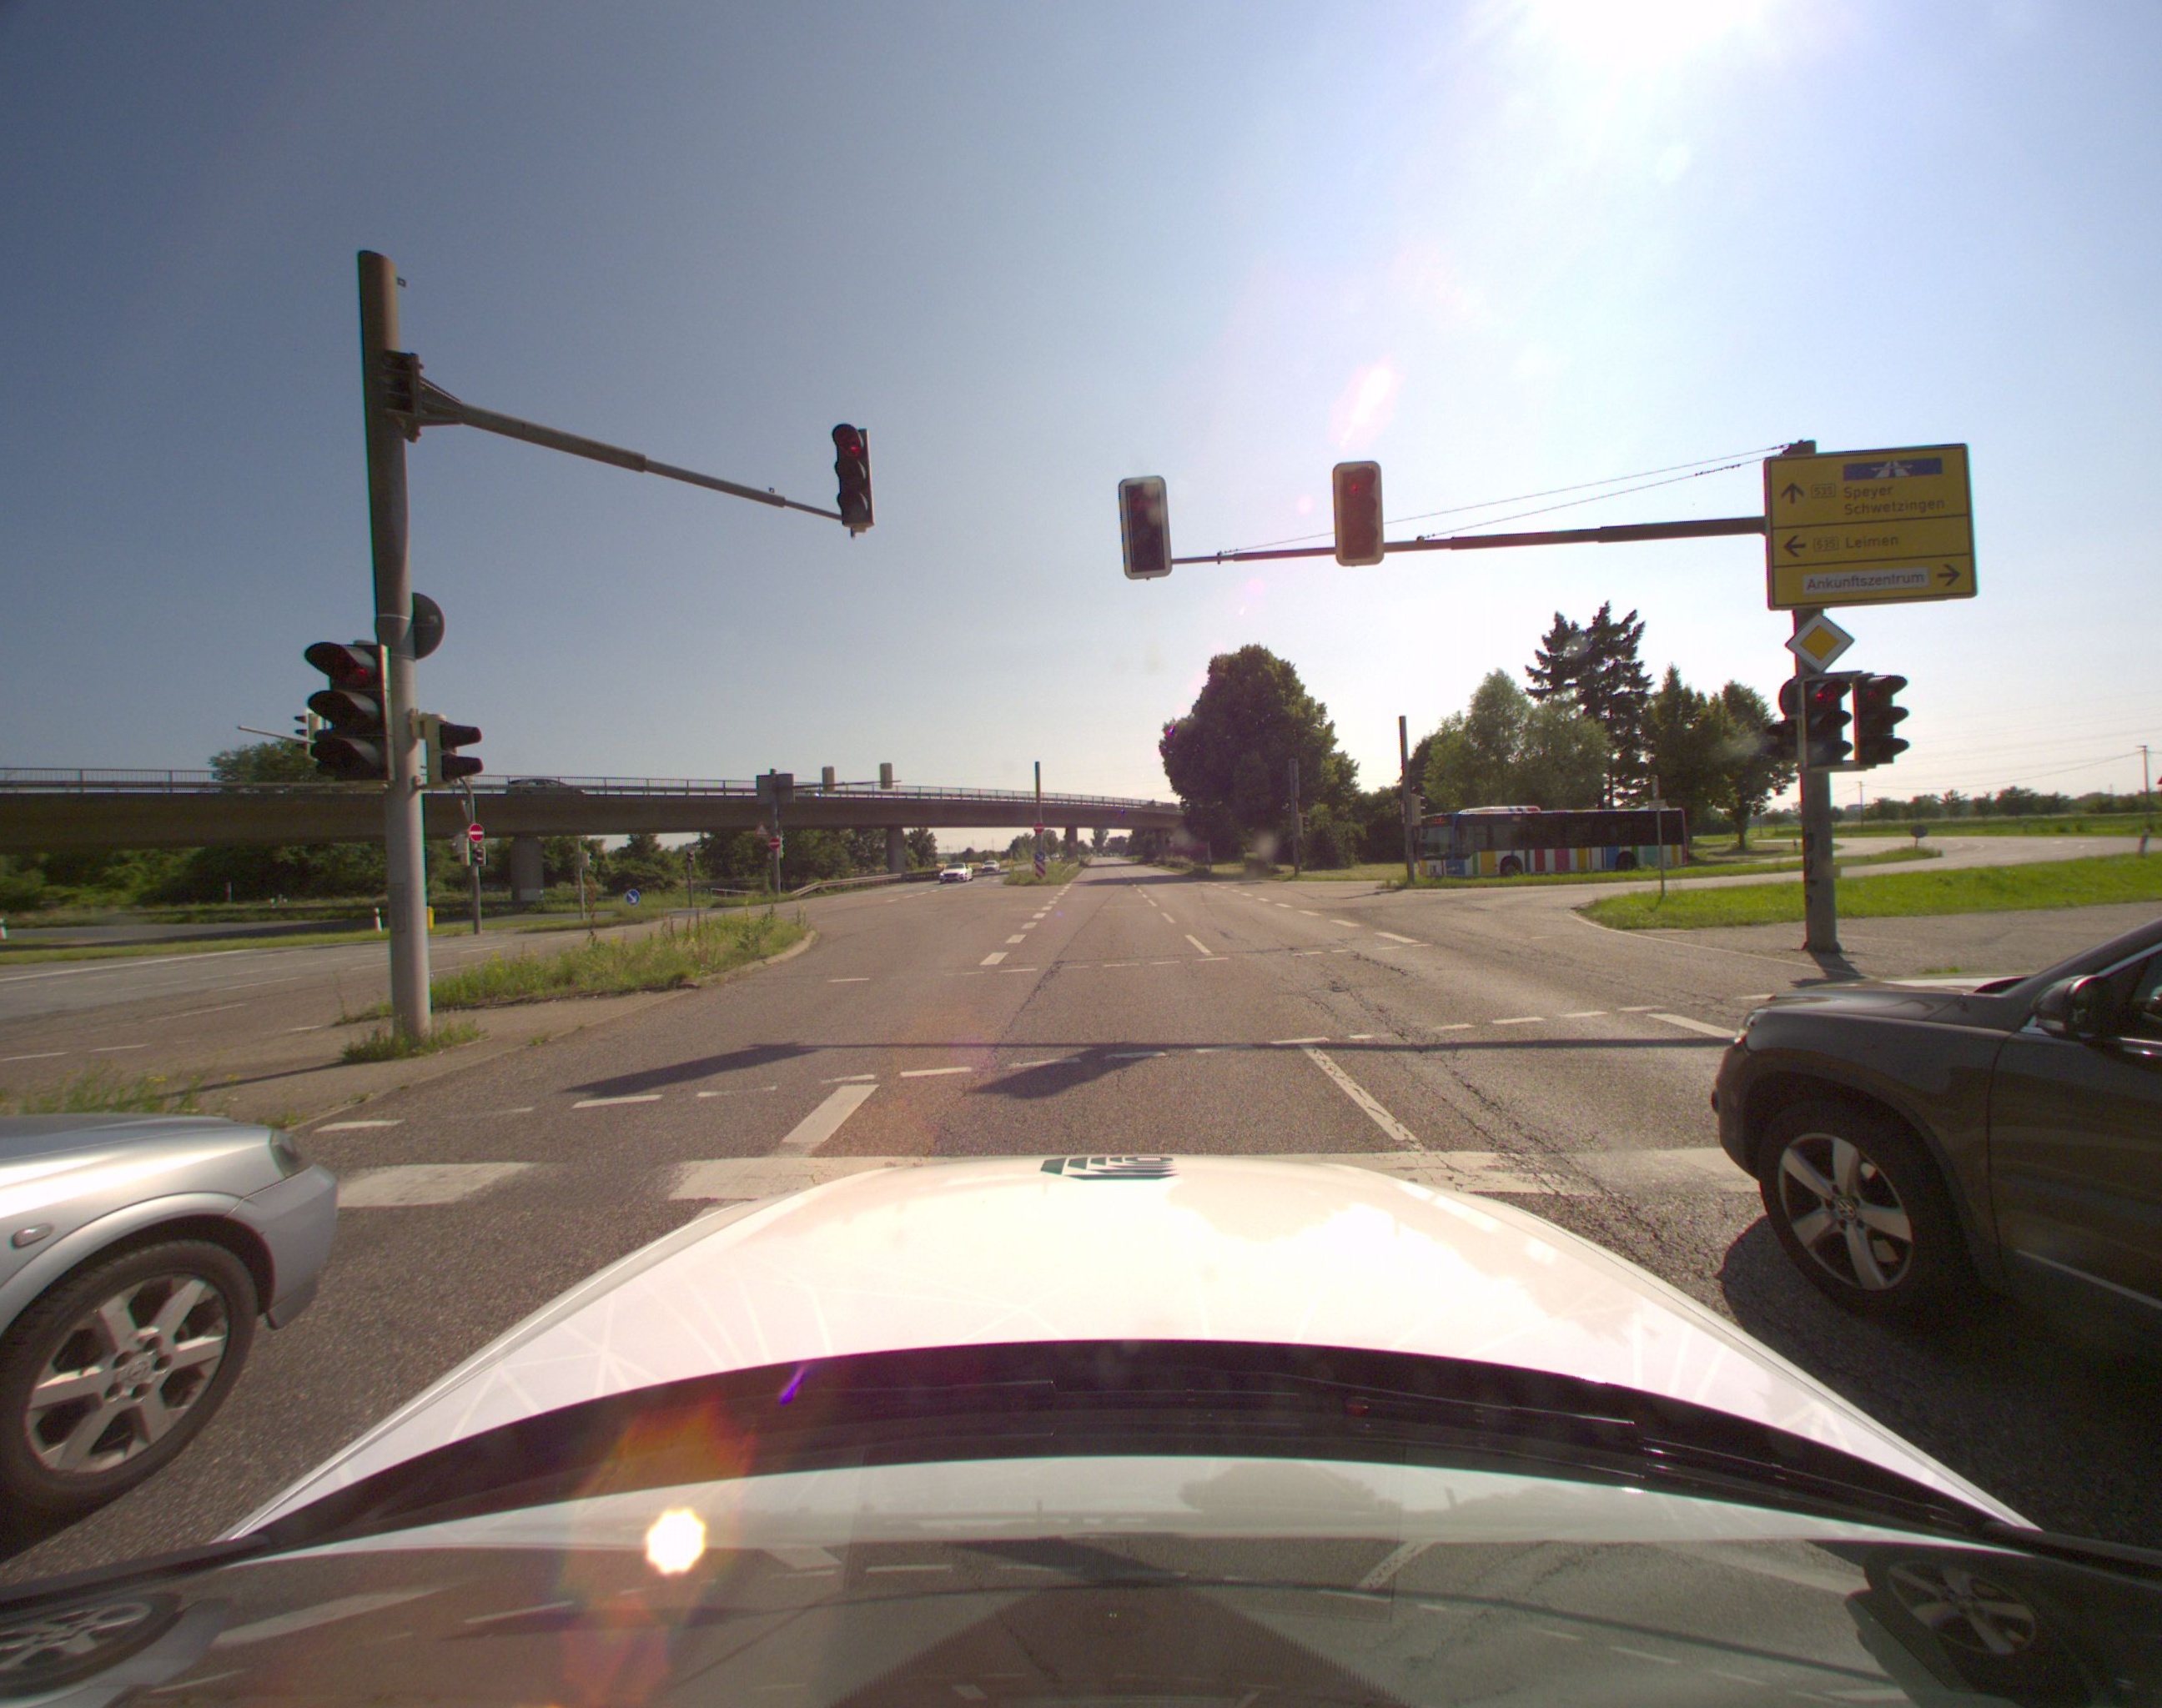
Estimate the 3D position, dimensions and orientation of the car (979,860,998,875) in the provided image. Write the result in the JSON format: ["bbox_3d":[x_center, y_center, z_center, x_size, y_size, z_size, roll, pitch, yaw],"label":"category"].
[{"bbox_3d":[-11.297,1.619,99.480,1.784,1.628,4.000,-3,0,1],"label":"car"}]

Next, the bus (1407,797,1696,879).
[{"bbox_3d":[20.230,-0.710,35.008,11.954,2.877,2.928,-3,0,-14],"label":"bus"}]

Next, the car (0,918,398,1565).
[{"bbox_3d":[-3.259,0.924,0.735,1.667,1.335,4.100,-3,0,2],"label":"car"}]

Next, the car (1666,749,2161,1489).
[{"bbox_3d":[3.274,0.583,1.304,1.749,1.655,4.147,-1,0,1],"label":"car"}]

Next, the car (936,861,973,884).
[{"bbox_3d":[-9.153,1.317,59.100,1.850,1.448,4.241,-5,0,1],"label":"car"}]

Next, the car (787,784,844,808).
[{"bbox_3d":[-20.213,-4.394,62.093,1.721,1.469,3.773,-1,-1,40],"label":"car"}]
